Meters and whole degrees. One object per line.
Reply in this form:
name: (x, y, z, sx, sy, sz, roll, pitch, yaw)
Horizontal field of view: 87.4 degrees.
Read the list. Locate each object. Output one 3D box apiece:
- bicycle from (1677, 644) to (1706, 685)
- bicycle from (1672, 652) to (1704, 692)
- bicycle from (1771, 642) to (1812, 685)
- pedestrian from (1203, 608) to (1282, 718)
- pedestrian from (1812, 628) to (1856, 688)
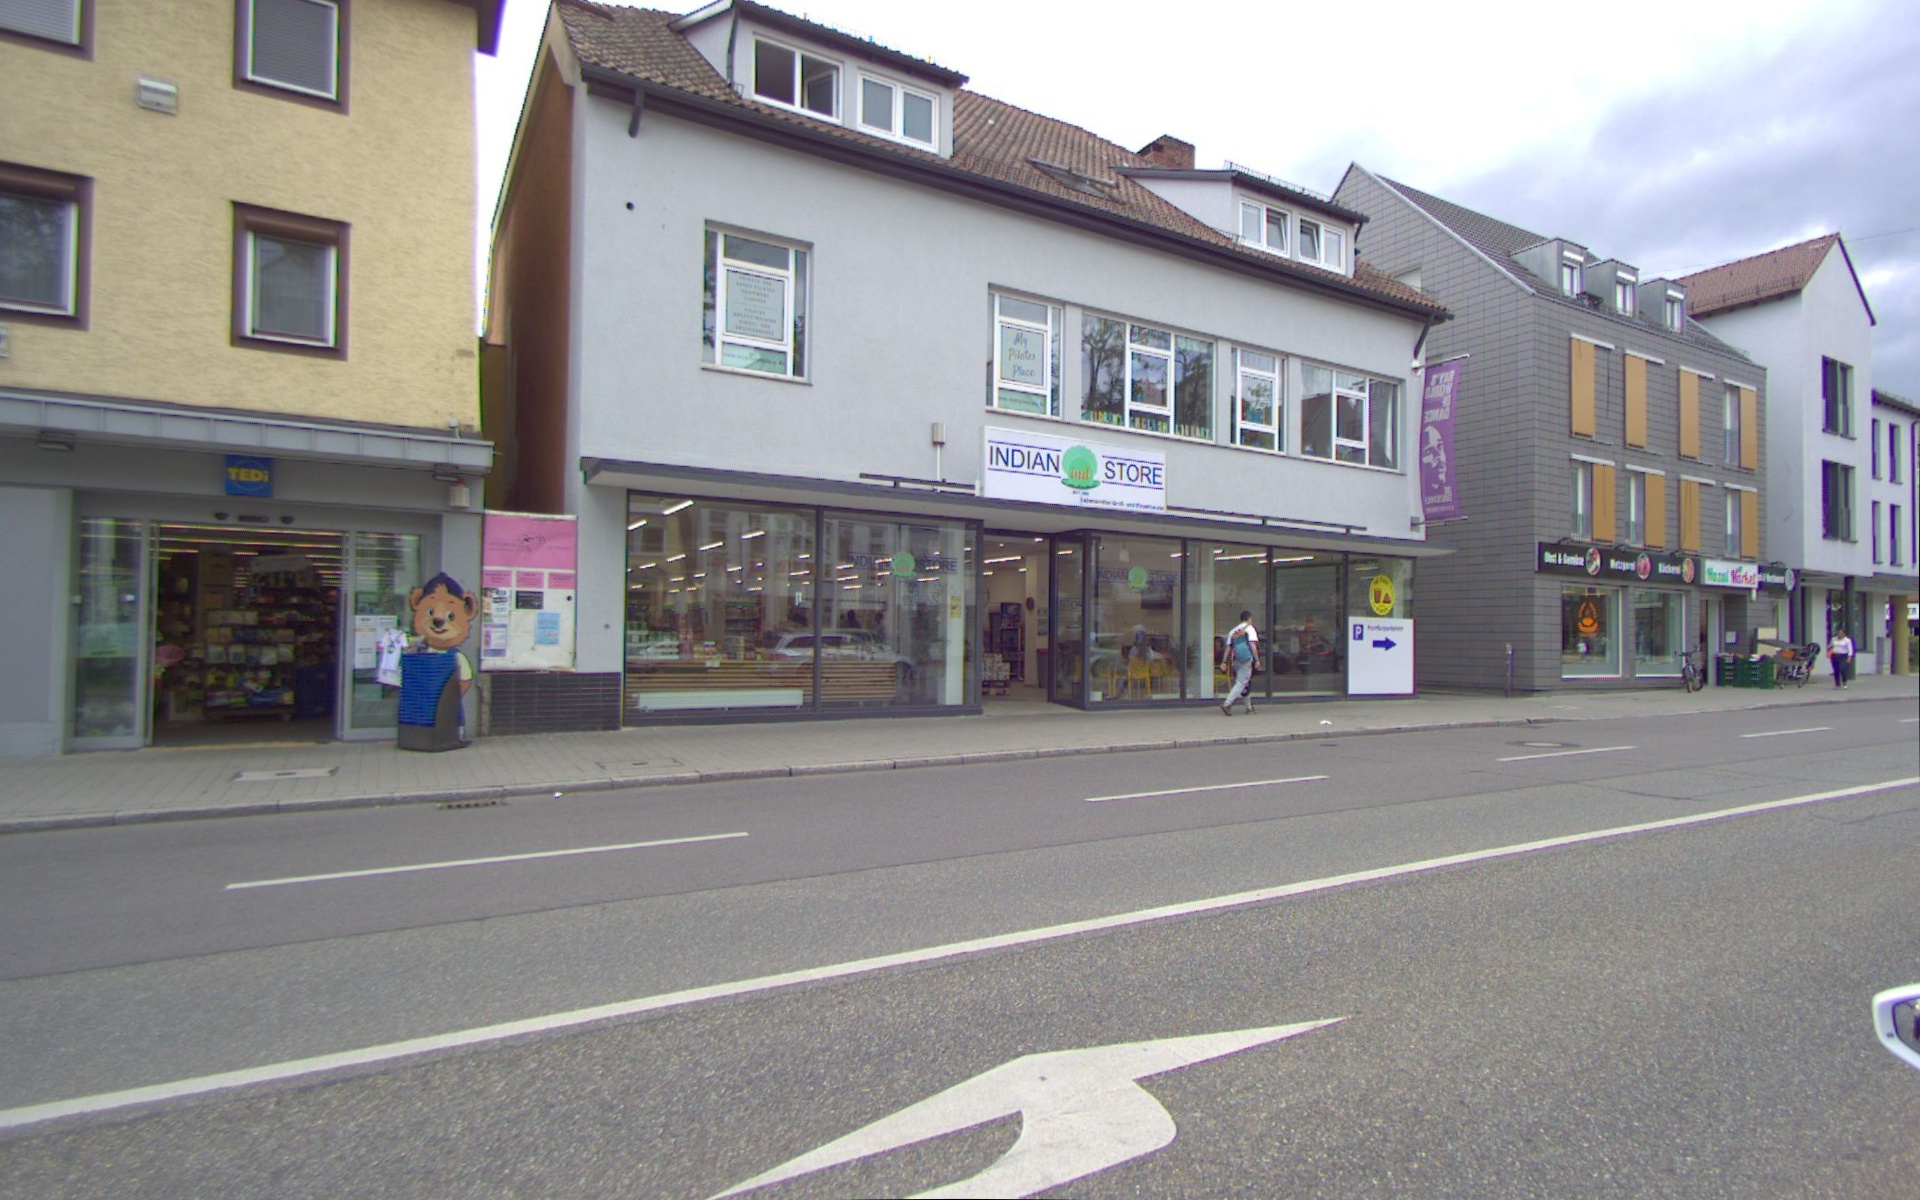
bicycle: (21.047, 1.836, 28.894, 1.279, 1.142, 0.383, 2, -2, -40)
bicycle: (18.309, 1.802, 25.263, 1.472, 0.966, 0.323, 2, -2, -41)
bicycle: (24.000, 1.824, 28.971, 1.806, 1.201, 0.384, 1, -2, -33)
pedestrian: (4.664, 1.024, 16.601, 0.969, 1.728, 0.750, 1, 2, -30)
pedestrian: (24.318, 1.593, 27.947, 0.744, 1.631, 0.725, 1, -1, -29)
